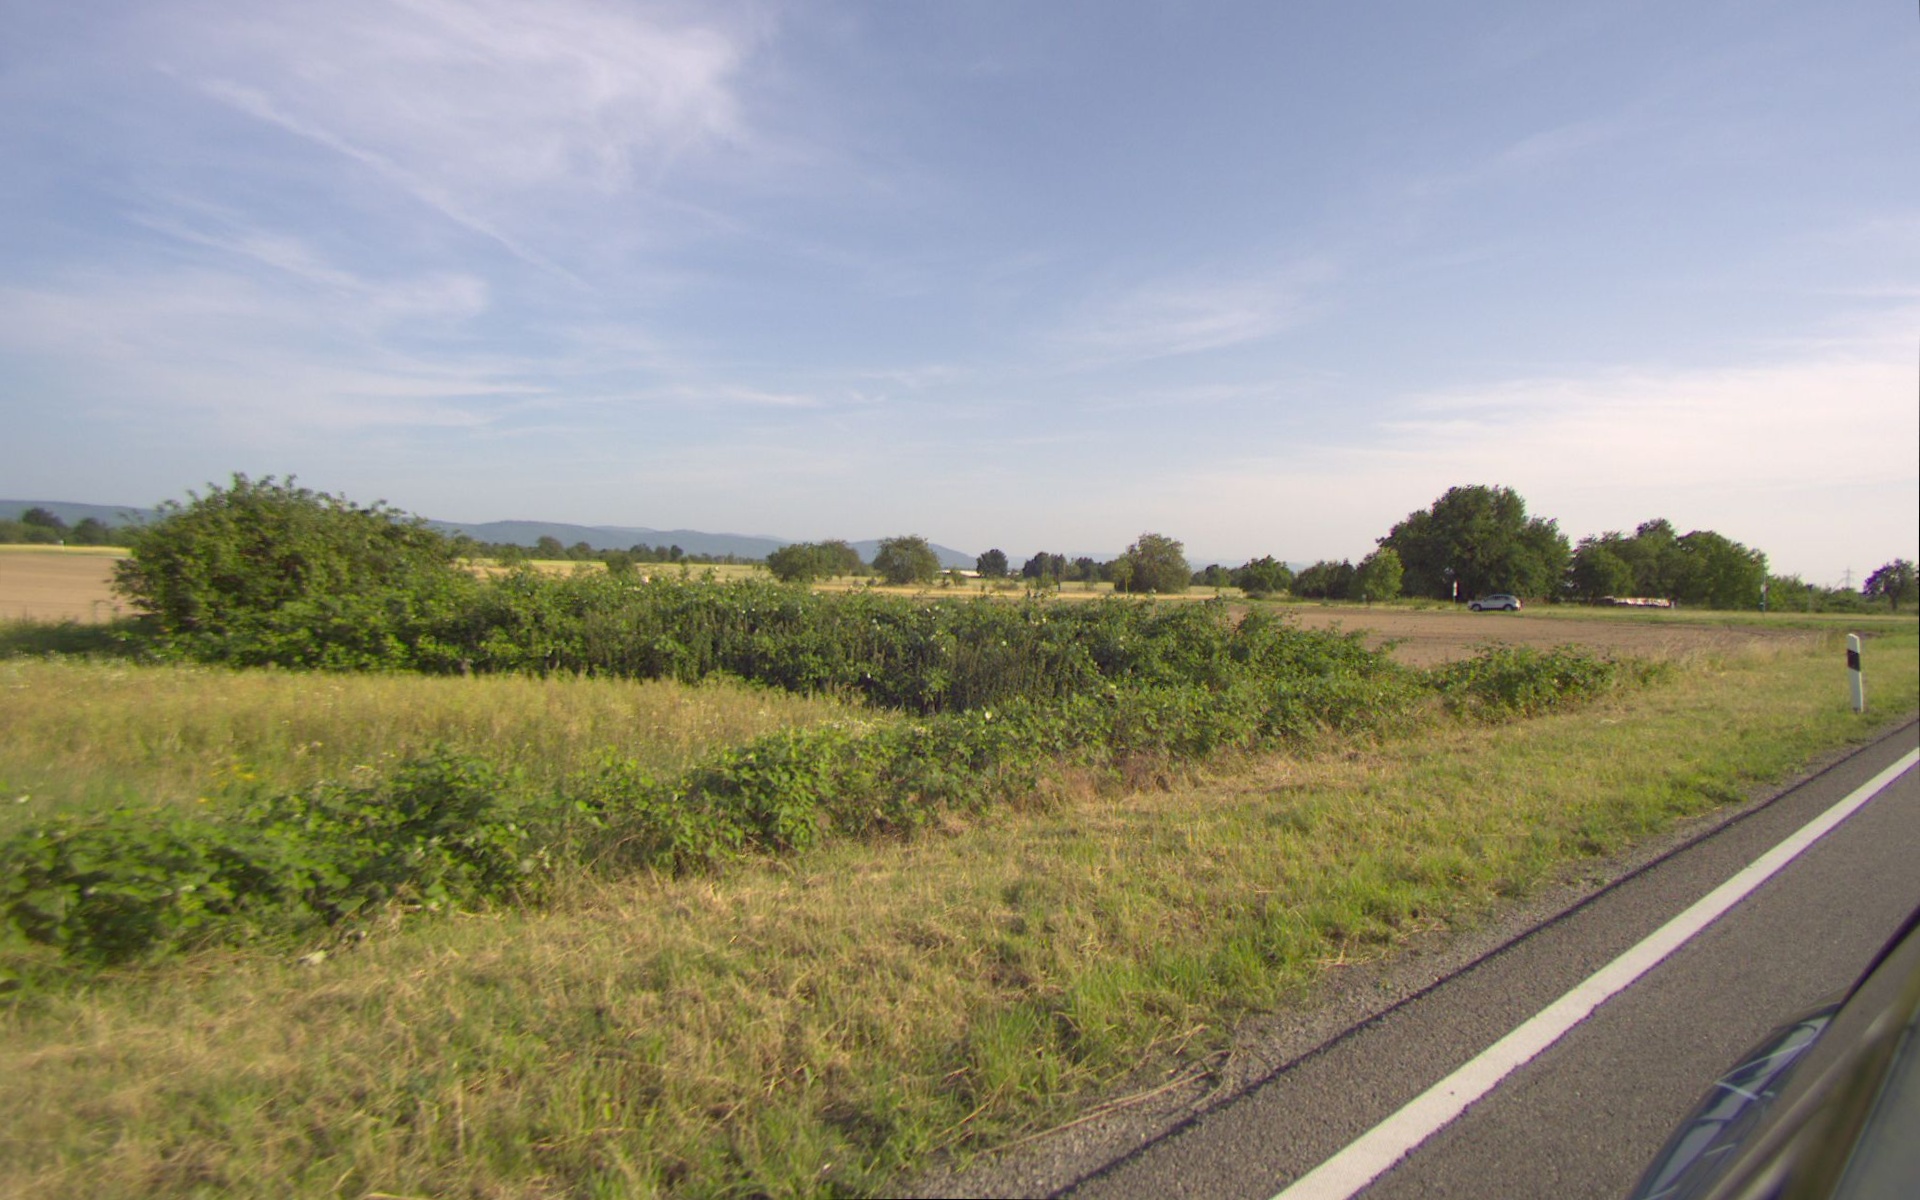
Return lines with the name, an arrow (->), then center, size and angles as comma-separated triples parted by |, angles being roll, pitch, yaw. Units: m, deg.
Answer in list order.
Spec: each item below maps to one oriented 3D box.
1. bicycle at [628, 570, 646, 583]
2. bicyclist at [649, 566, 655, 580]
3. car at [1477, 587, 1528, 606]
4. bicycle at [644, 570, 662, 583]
bicycle -> -38.180, -2.812, 119.735 | 1.941, 1.550, 0.503 | 0, 0, 3
bicyclist -> -36.819, -3.198, 120.850 | 0.540, 1.617, 0.487 | 0, 0, 2
car -> 50.243, -0.319, 93.773 | 3.974, 1.672, 1.975 | 0, 0, 35
bicycle -> -36.650, -2.817, 120.838 | 1.941, 1.550, 0.503 | 0, 0, 3
